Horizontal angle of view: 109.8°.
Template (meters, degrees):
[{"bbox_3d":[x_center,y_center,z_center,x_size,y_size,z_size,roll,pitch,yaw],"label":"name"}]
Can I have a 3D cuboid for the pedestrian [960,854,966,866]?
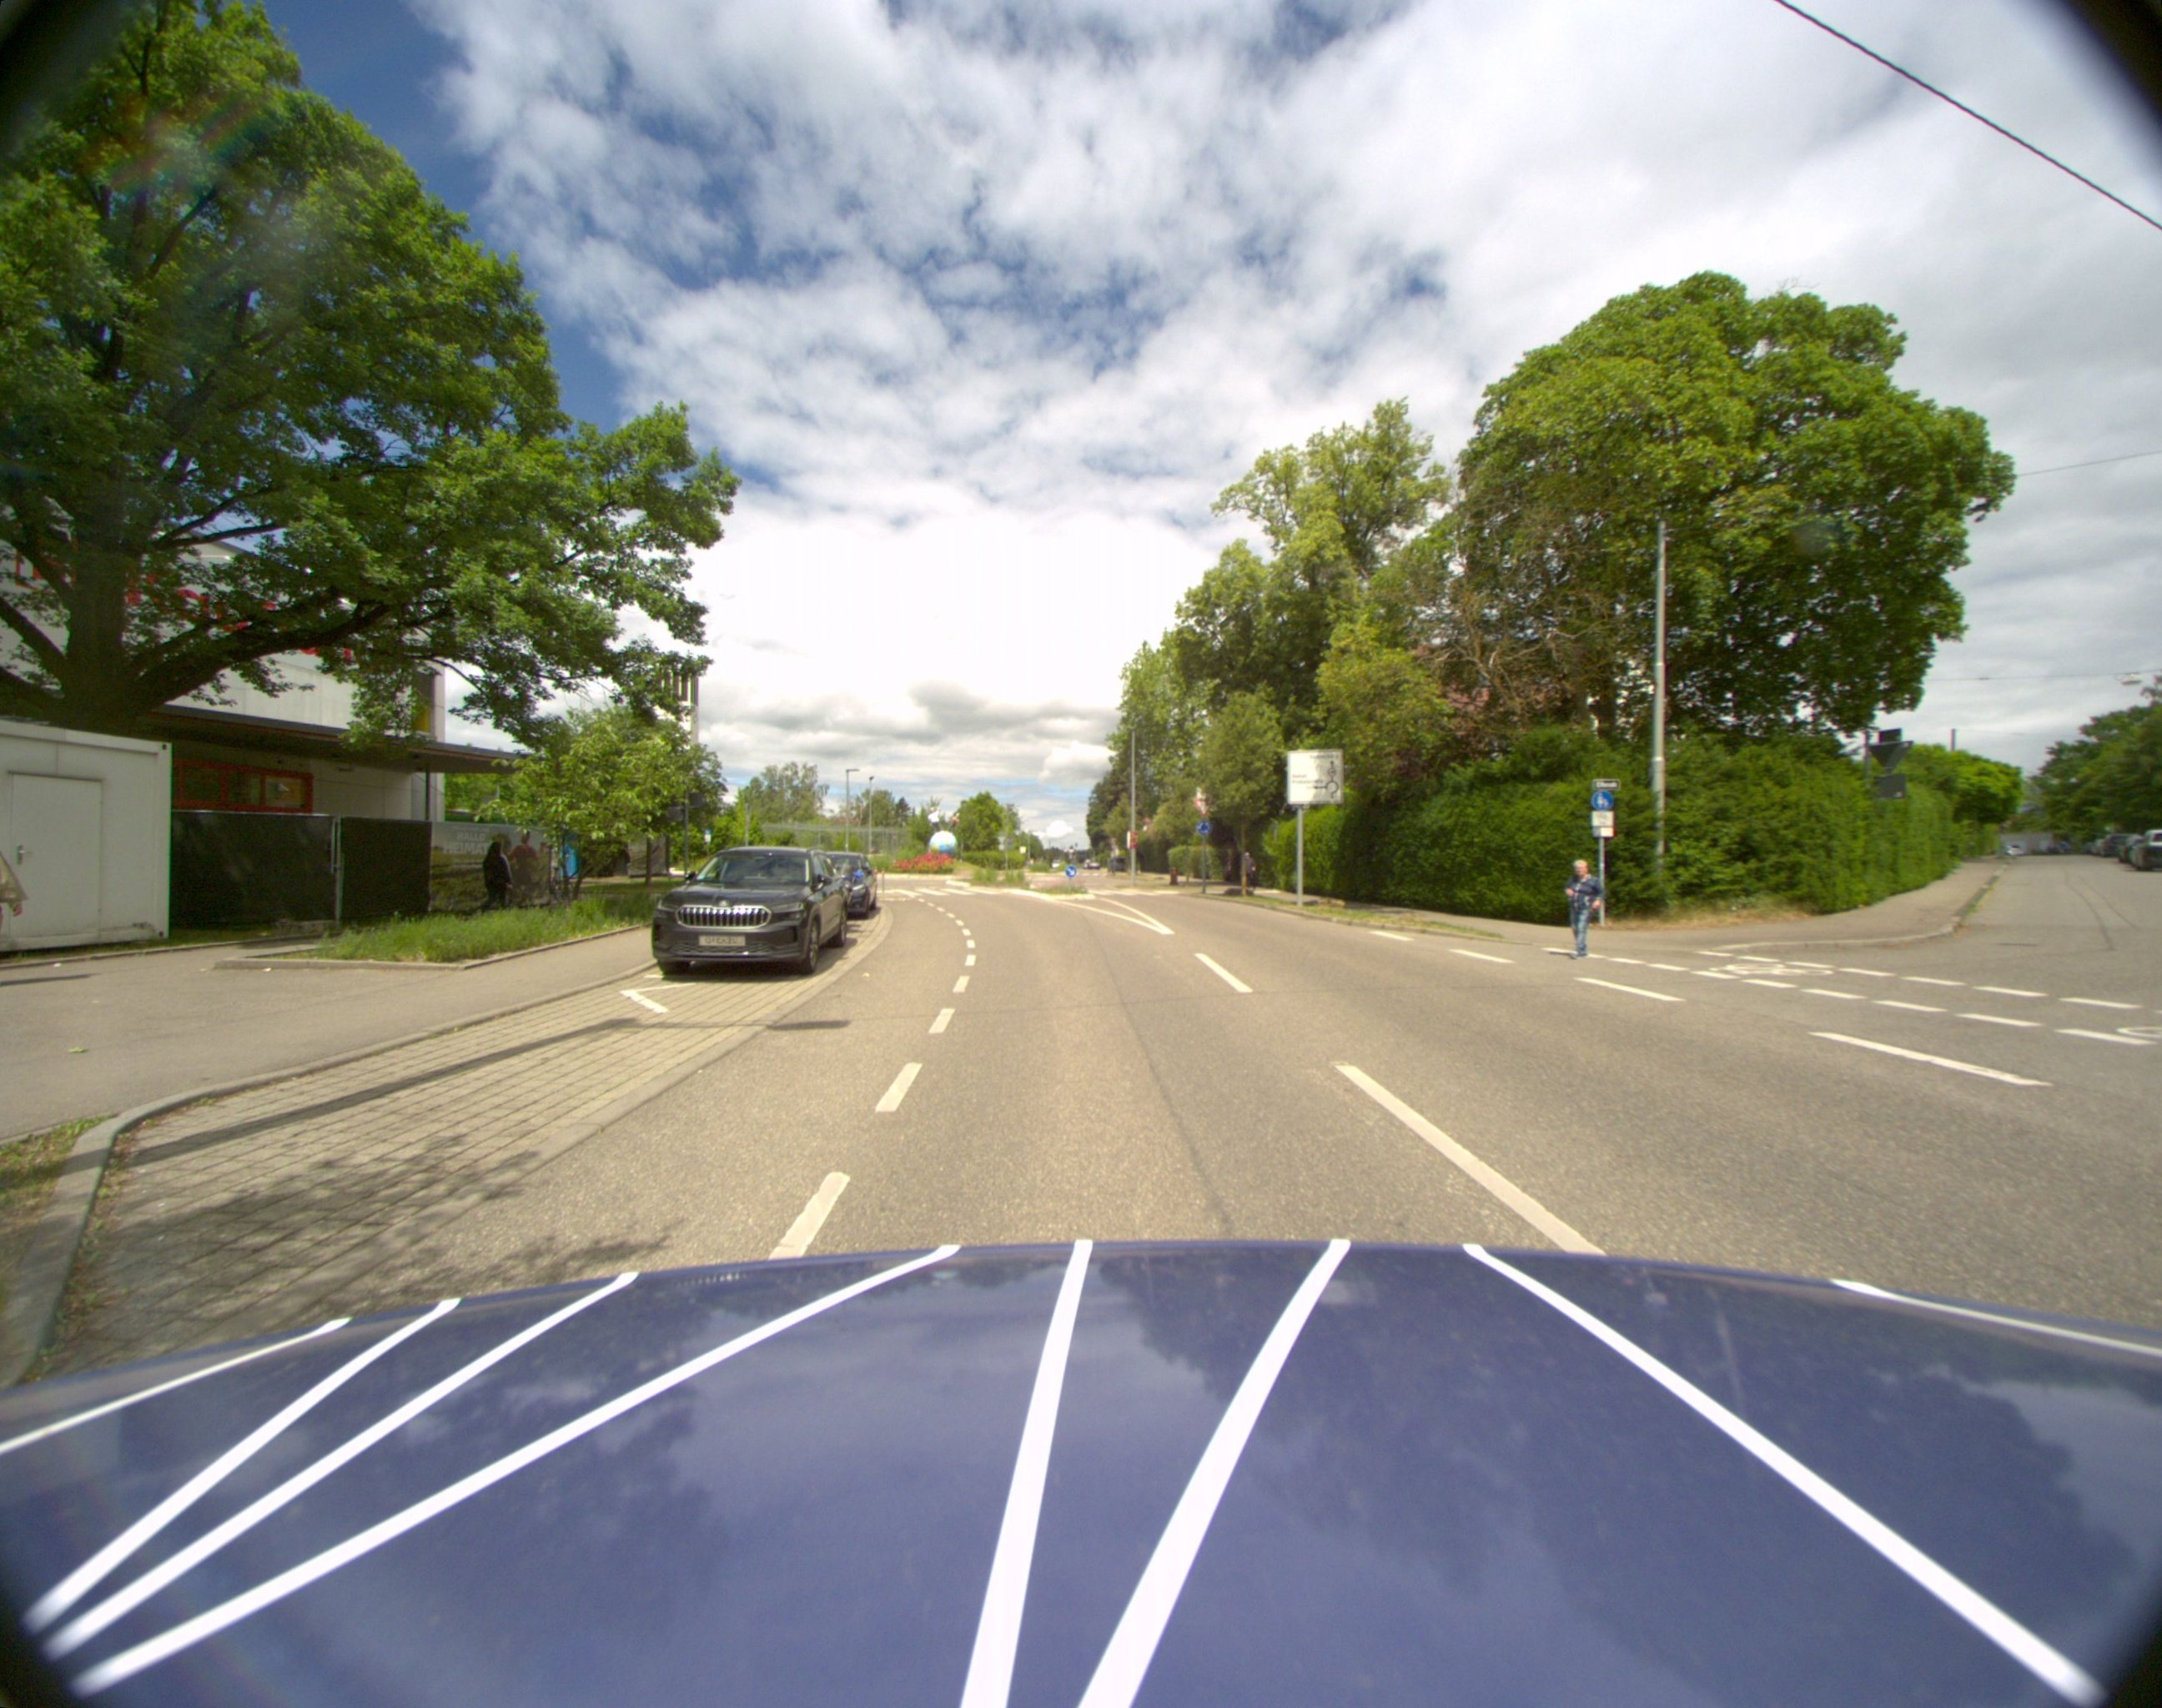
[{"bbox_3d":[-15.937,0.804,102.688,0.765,1.548,0.601,-1,1,-19],"label":"pedestrian"}]

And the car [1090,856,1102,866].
[{"bbox_3d":[2.423,1.091,121.682,1.862,1.568,3.999,0,1,-1],"label":"car"}]

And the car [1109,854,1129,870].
[{"bbox_3d":[4.104,0.841,82.653,1.681,1.652,3.997,1,0,-5],"label":"car"}]

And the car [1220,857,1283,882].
[{"bbox_3d":[10.880,0.990,48.706,3.576,1.389,1.665,3,1,-1],"label":"car"}]

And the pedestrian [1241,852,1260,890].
[{"bbox_3d":[7.762,0.774,34.822,0.745,1.681,0.694,0,1,0],"label":"pedestrian"}]

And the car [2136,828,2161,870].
[{"bbox_3d":[48.744,-0.241,33.872,4.007,1.860,1.960,-1,1,-35],"label":"car"}]

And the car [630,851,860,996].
[{"bbox_3d":[-4.521,0.795,11.090,1.885,1.612,4.842,1,0,-9],"label":"car"}]

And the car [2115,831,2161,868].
[{"bbox_3d":[59.542,-0.257,42.390,4.008,2.002,1.994,-1,0,-39],"label":"car"}]

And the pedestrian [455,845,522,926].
[{"bbox_3d":[-12.010,0.623,15.430,0.744,1.608,0.767,0,1,-2],"label":"pedestrian"}]

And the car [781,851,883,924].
[{"bbox_3d":[-6.099,0.757,19.087,1.923,1.569,4.424,1,0,-12],"label":"car"}]

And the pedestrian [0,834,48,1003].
[{"bbox_3d":[-11.066,0.642,7.512,0.652,1.686,0.724,0,1,-2],"label":"pedestrian"}]

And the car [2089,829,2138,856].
[{"bbox_3d":[77.699,-0.861,57.236,4.008,2.002,1.994,-1,0,-39],"label":"car"}]

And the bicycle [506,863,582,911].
[{"bbox_3d":[-13.856,0.826,19.664,0.450,1.149,1.792,0,1,10],"label":"bicycle"}]

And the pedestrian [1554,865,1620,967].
[{"bbox_3d":[7.784,0.923,11.688,0.732,1.500,0.626,-1,1,-37],"label":"pedestrian"}]

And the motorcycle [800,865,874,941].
[{"bbox_3d":[-4.737,0.921,14.934,1.075,1.298,2.258,3,0,-11],"label":"motorcycle"}]
